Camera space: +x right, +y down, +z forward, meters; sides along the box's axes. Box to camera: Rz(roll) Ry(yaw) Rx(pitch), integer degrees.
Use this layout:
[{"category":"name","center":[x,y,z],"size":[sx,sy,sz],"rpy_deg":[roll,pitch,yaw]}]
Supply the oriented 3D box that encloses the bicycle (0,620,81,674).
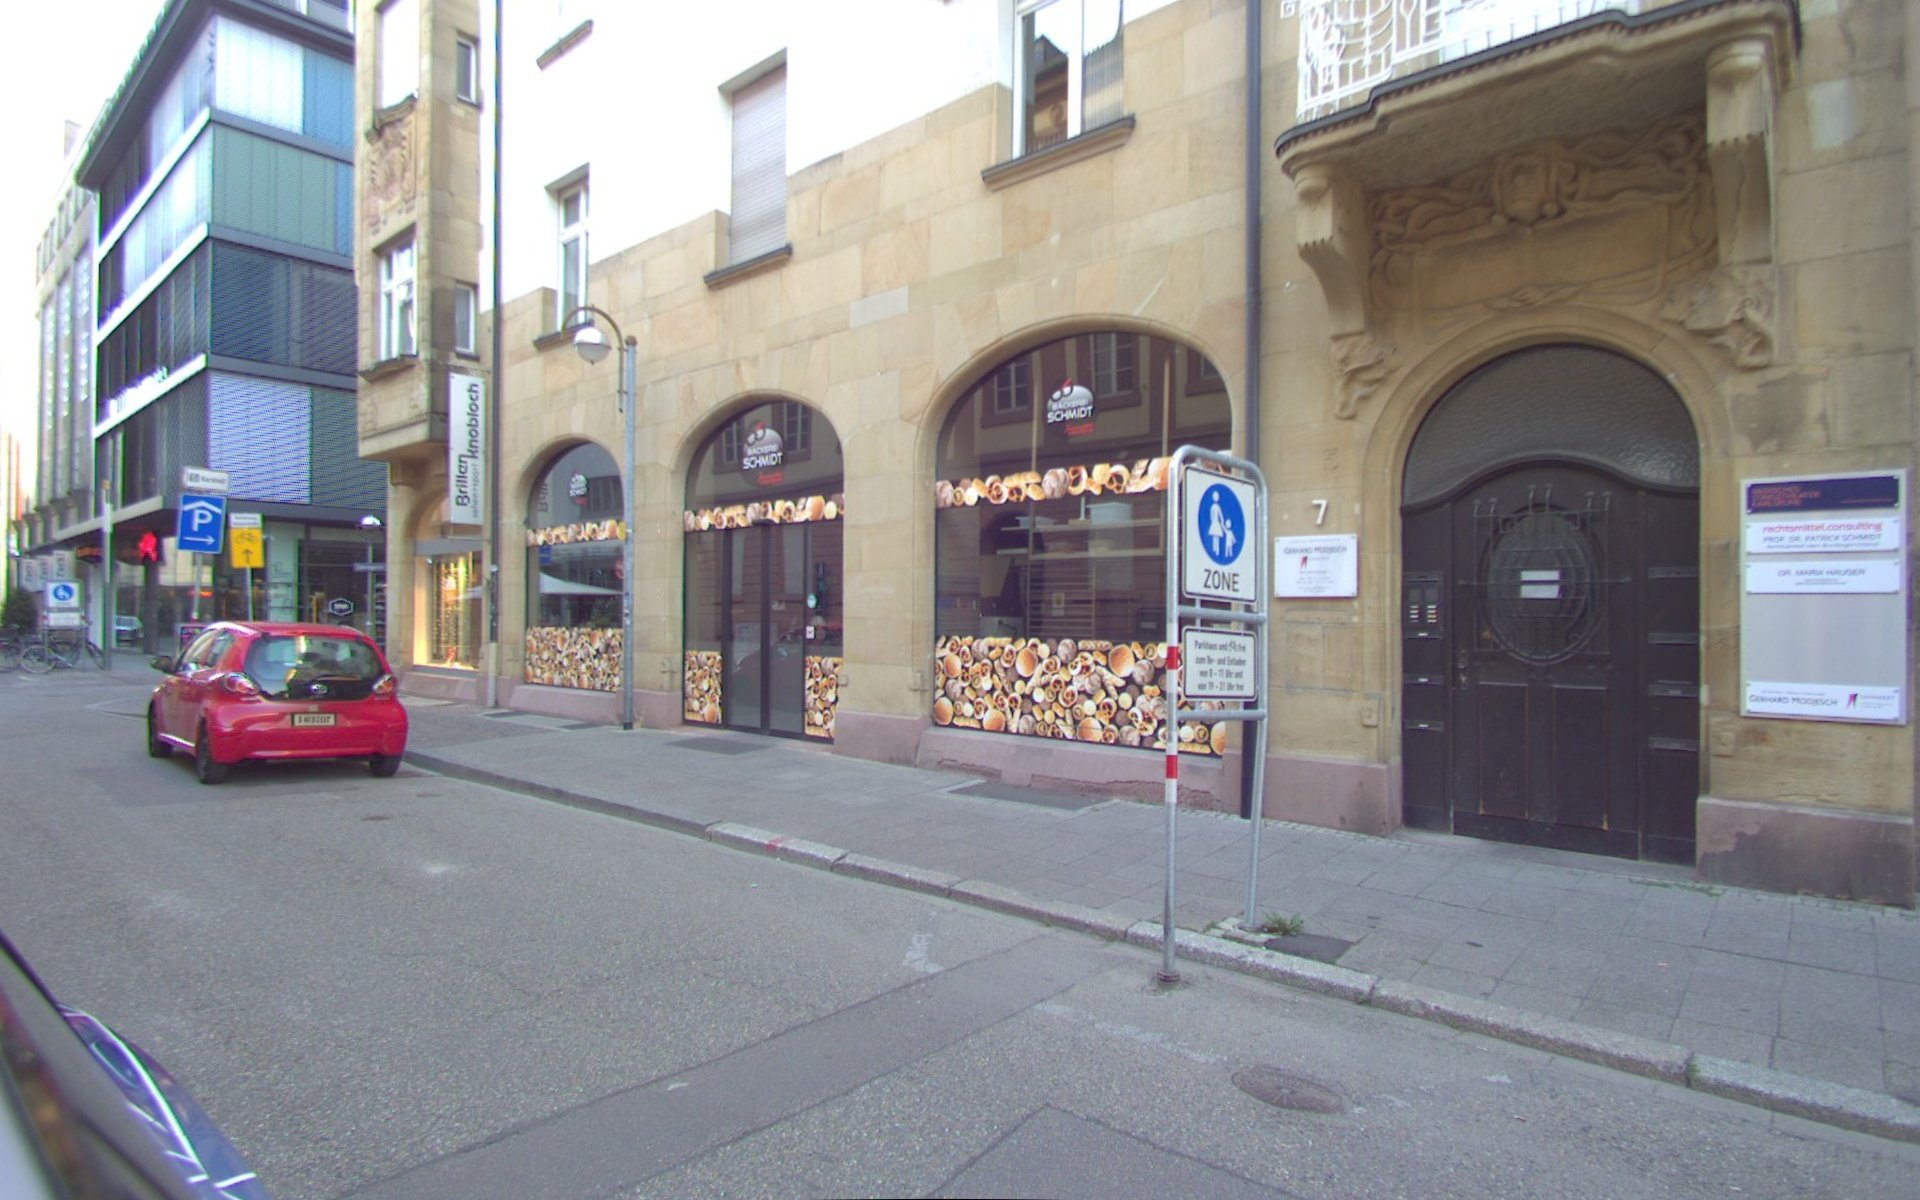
[{"category":"bicycle","center":[-24.856,1.260,27.107],"size":[0.538,1.279,1.878],"rpy_deg":[-1,3,42]}]

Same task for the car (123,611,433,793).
[{"category":"car","center":[-7.023,0.921,10.262],"size":[3.931,1.481,1.640],"rpy_deg":[0,-5,43]}]

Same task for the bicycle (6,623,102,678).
[{"category":"bicycle","center":[-21.709,1.194,24.281],"size":[0.509,1.213,1.648],"rpy_deg":[-1,0,41]}]

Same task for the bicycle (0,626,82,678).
[{"category":"bicycle","center":[-23.017,1.276,25.039],"size":[0.517,1.190,1.878],"rpy_deg":[-3,-1,40]}]

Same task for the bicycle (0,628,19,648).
[{"category":"bicycle","center":[-60.156,2.387,62.946],"size":[0.515,1.198,2.320],"rpy_deg":[-1,-1,25]}]
